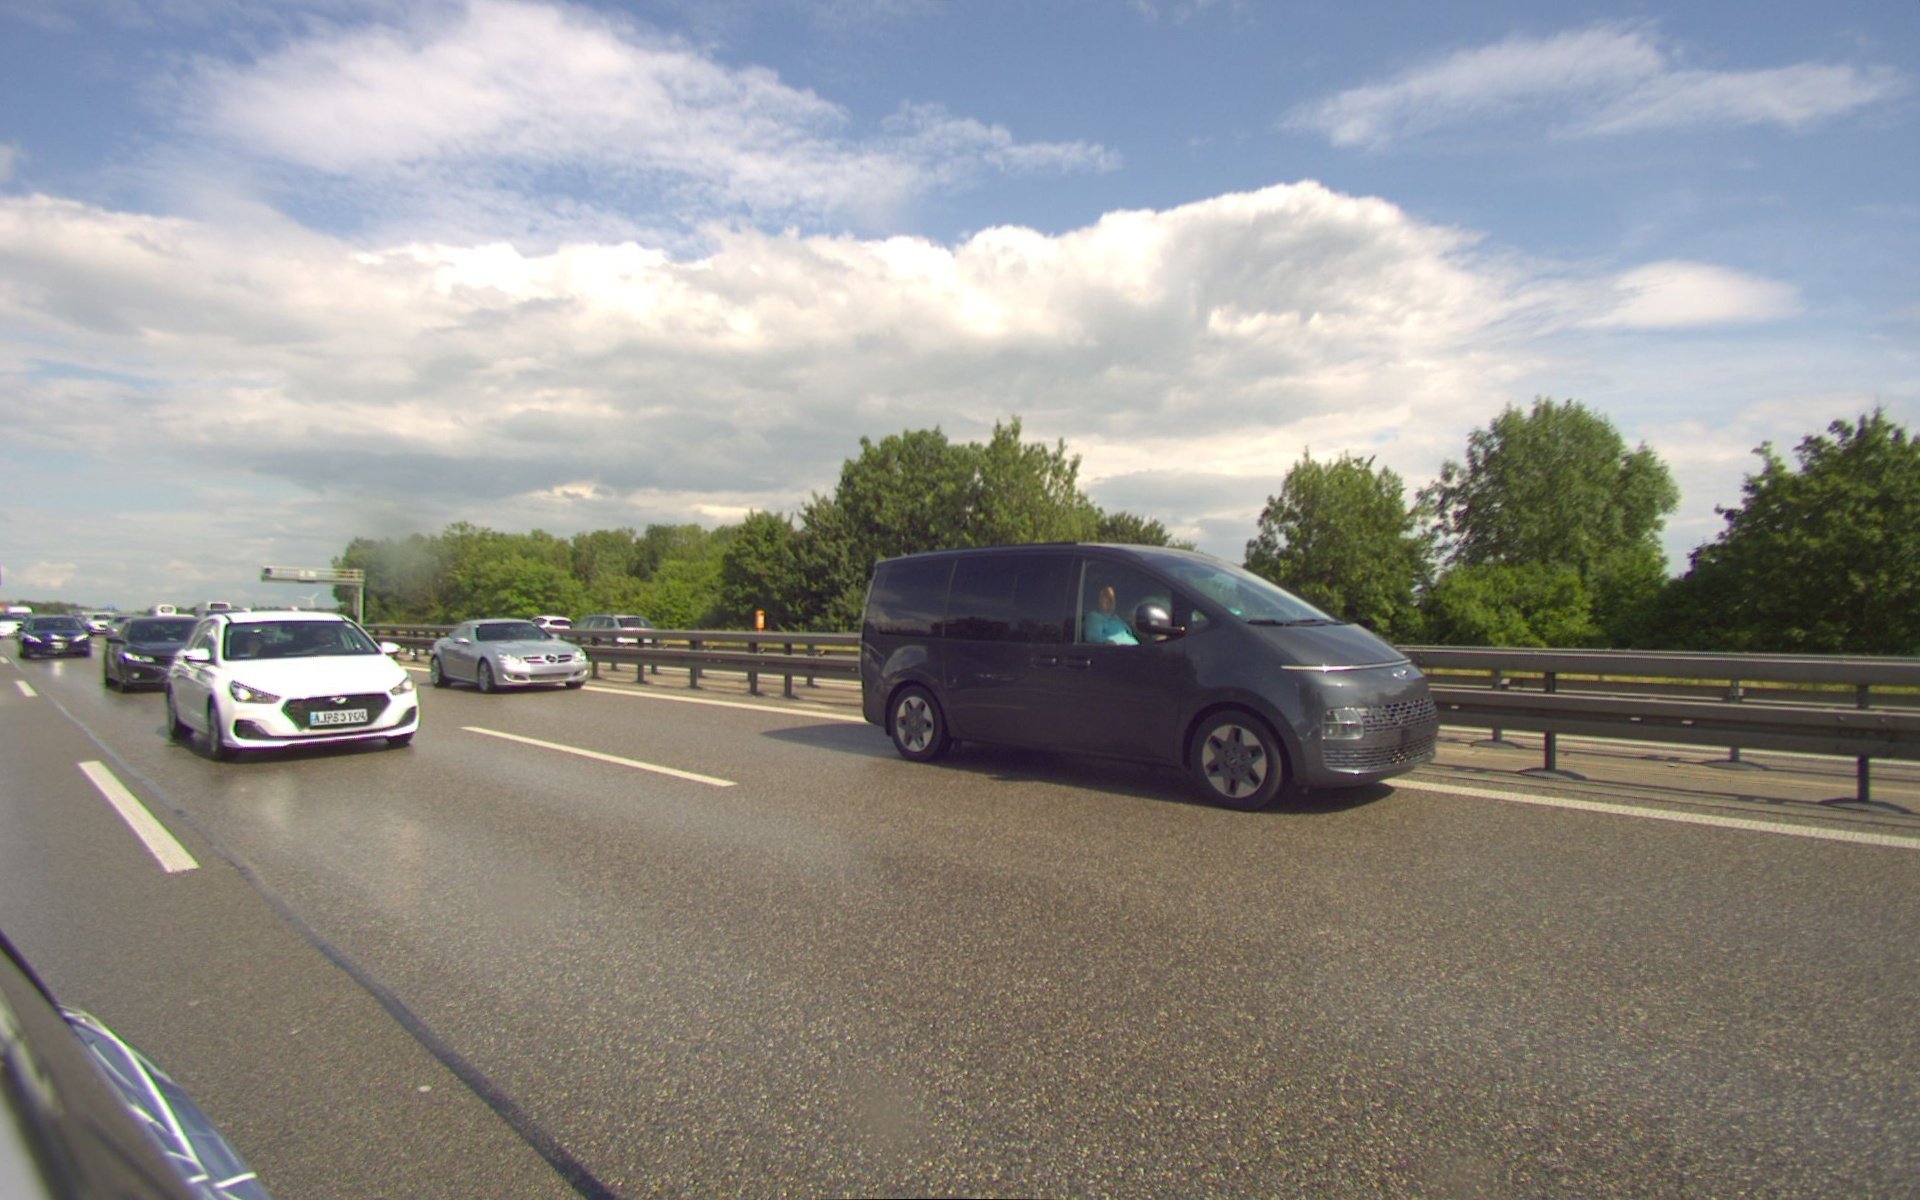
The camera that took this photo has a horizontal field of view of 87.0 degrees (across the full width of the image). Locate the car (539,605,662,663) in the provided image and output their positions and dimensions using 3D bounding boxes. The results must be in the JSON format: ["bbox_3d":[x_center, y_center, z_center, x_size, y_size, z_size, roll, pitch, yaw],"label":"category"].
[{"bbox_3d":[-11.542,1.045,32.364,4.153,1.719,1.973,-1,-1,41],"label":"car"}]

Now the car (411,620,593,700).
[{"bbox_3d":[-8.526,1.034,18.683,4.065,1.288,1.705,-1,-1,44],"label":"car"}]

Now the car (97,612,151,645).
[{"bbox_3d":[-48.878,1.624,59.139,4.001,1.761,1.971,0,1,44],"label":"car"}]

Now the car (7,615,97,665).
[{"bbox_3d":[-31.075,1.306,34.606,4.001,1.497,1.971,0,2,44],"label":"car"}]

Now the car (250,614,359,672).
[{"bbox_3d":[-18.346,1.140,28.248,1.746,1.436,4.141,-1,0,-45],"label":"car"}]

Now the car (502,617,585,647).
[{"bbox_3d":[-21.985,1.663,53.355,5.036,1.498,2.094,-1,-1,42],"label":"car"}]

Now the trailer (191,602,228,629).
[{"bbox_3d":[-98.981,2.086,133.454,2.698,3.407,9.567,0,-1,-44],"label":"trailer"}]

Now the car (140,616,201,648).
[{"bbox_3d":[-37.449,1.483,47.971,4.001,1.389,1.747,0,0,44],"label":"car"}]

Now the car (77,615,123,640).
[{"bbox_3d":[-57.539,1.807,67.690,4.001,1.490,1.971,0,2,44],"label":"car"}]

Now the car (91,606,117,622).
[{"bbox_3d":[-101.103,1.633,119.578,4.463,1.792,1.971,-1,-1,45],"label":"car"}]

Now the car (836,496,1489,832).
[{"bbox_3d":[1.372,0.422,8.685,5.271,2.029,1.971,-1,-1,44],"label":"car"}]

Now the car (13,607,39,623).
[{"bbox_3d":[-106.362,1.681,115.227,4.001,1.710,1.971,0,1,44],"label":"car"}]

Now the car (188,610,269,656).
[{"bbox_3d":[-27.658,1.193,38.205,1.849,1.618,4.231,0,0,-45],"label":"car"}]

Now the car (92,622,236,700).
[{"bbox_3d":[-15.881,1.129,20.112,4.289,1.348,1.705,-1,-1,44],"label":"car"}]

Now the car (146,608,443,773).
[{"bbox_3d":[-7.603,0.848,11.353,4.549,1.466,1.860,-1,-1,44],"label":"car"}]

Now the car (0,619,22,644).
[{"bbox_3d":[-61.659,2.025,64.870,4.001,1.490,1.971,0,2,44],"label":"car"}]
